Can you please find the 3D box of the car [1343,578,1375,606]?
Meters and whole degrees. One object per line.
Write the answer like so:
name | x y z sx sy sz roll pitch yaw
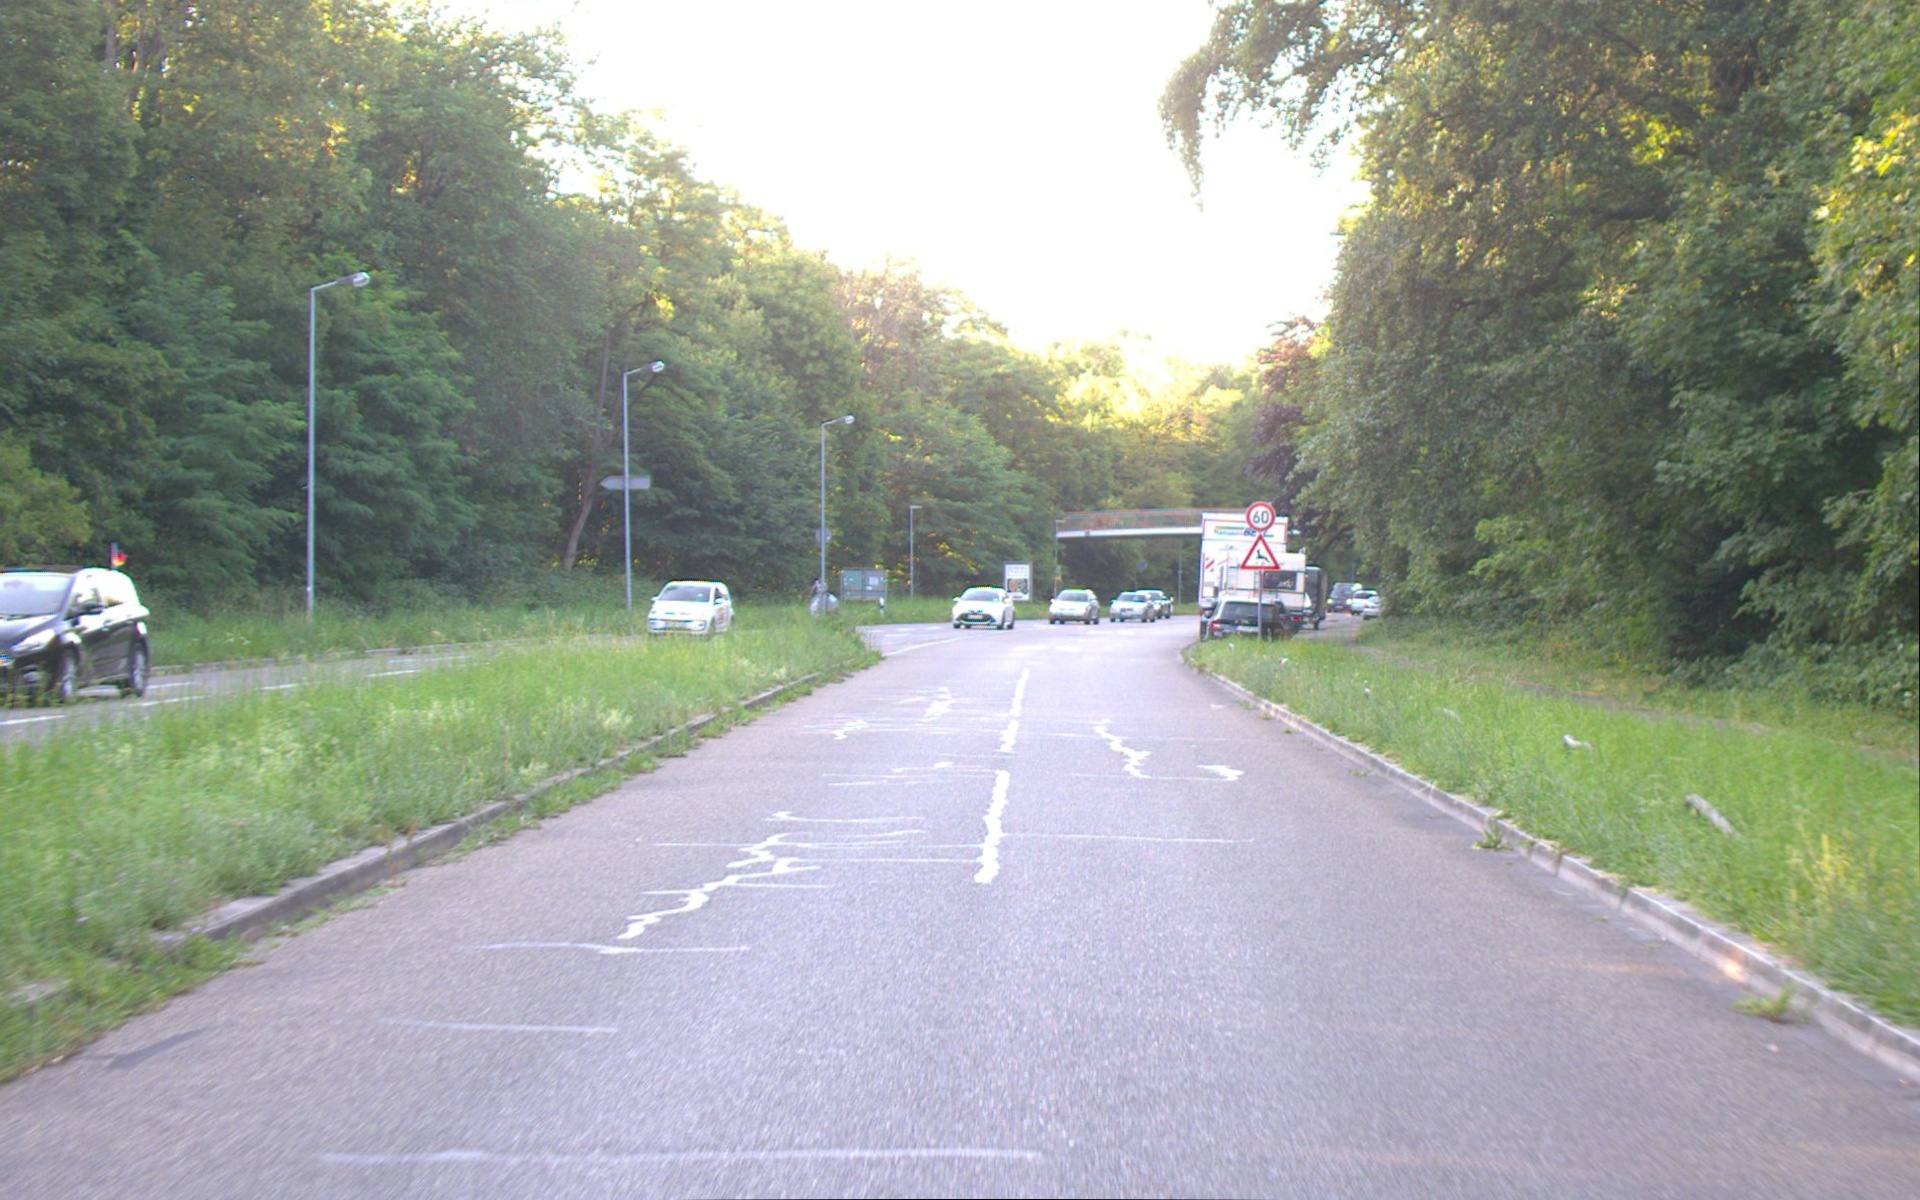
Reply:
car | 26.525 -0.506 228.513 1.994 1.831 3.999 1 0 7

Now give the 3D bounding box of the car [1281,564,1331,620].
car | 15.912 -0.324 157.806 1.994 2.401 5.821 0 -2 8

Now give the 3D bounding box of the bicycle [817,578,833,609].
bicycle | -5.475 -0.268 139.607 0.630 1.213 2.262 0 0 -2

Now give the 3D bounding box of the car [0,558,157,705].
car | -11.071 0.358 40.550 1.993 1.622 4.651 -1 0 1

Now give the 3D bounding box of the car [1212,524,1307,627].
car | 8.664 -0.682 99.962 2.408 2.848 5.932 2 0 2

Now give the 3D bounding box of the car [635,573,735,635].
car | -6.899 0.110 86.586 1.994 1.453 3.810 0 -1 4

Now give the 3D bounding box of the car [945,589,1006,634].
car | 0.575 0.427 121.915 1.836 1.502 3.937 0 -1 5

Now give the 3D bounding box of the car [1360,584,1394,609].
car | 24.590 -0.187 202.649 1.892 1.442 4.108 1 0 8

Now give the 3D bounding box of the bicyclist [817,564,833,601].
bicyclist | -5.475 -0.716 139.569 0.620 1.506 0.847 0 1 -2

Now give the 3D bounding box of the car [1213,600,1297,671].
car | 6.317 0.745 73.894 1.664 1.401 3.941 3 0 4

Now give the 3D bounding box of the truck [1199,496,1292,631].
truck | 9.056 -1.114 108.338 2.658 4.014 9.720 1 0 6

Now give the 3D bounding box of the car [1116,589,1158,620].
car | 8.384 0.209 162.207 1.720 1.392 4.374 1 0 6

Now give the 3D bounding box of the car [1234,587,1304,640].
car | 8.397 0.361 93.693 1.698 1.401 4.075 1 0 2

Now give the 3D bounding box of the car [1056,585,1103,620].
car | 5.119 0.111 147.284 1.716 1.441 4.172 1 0 6
